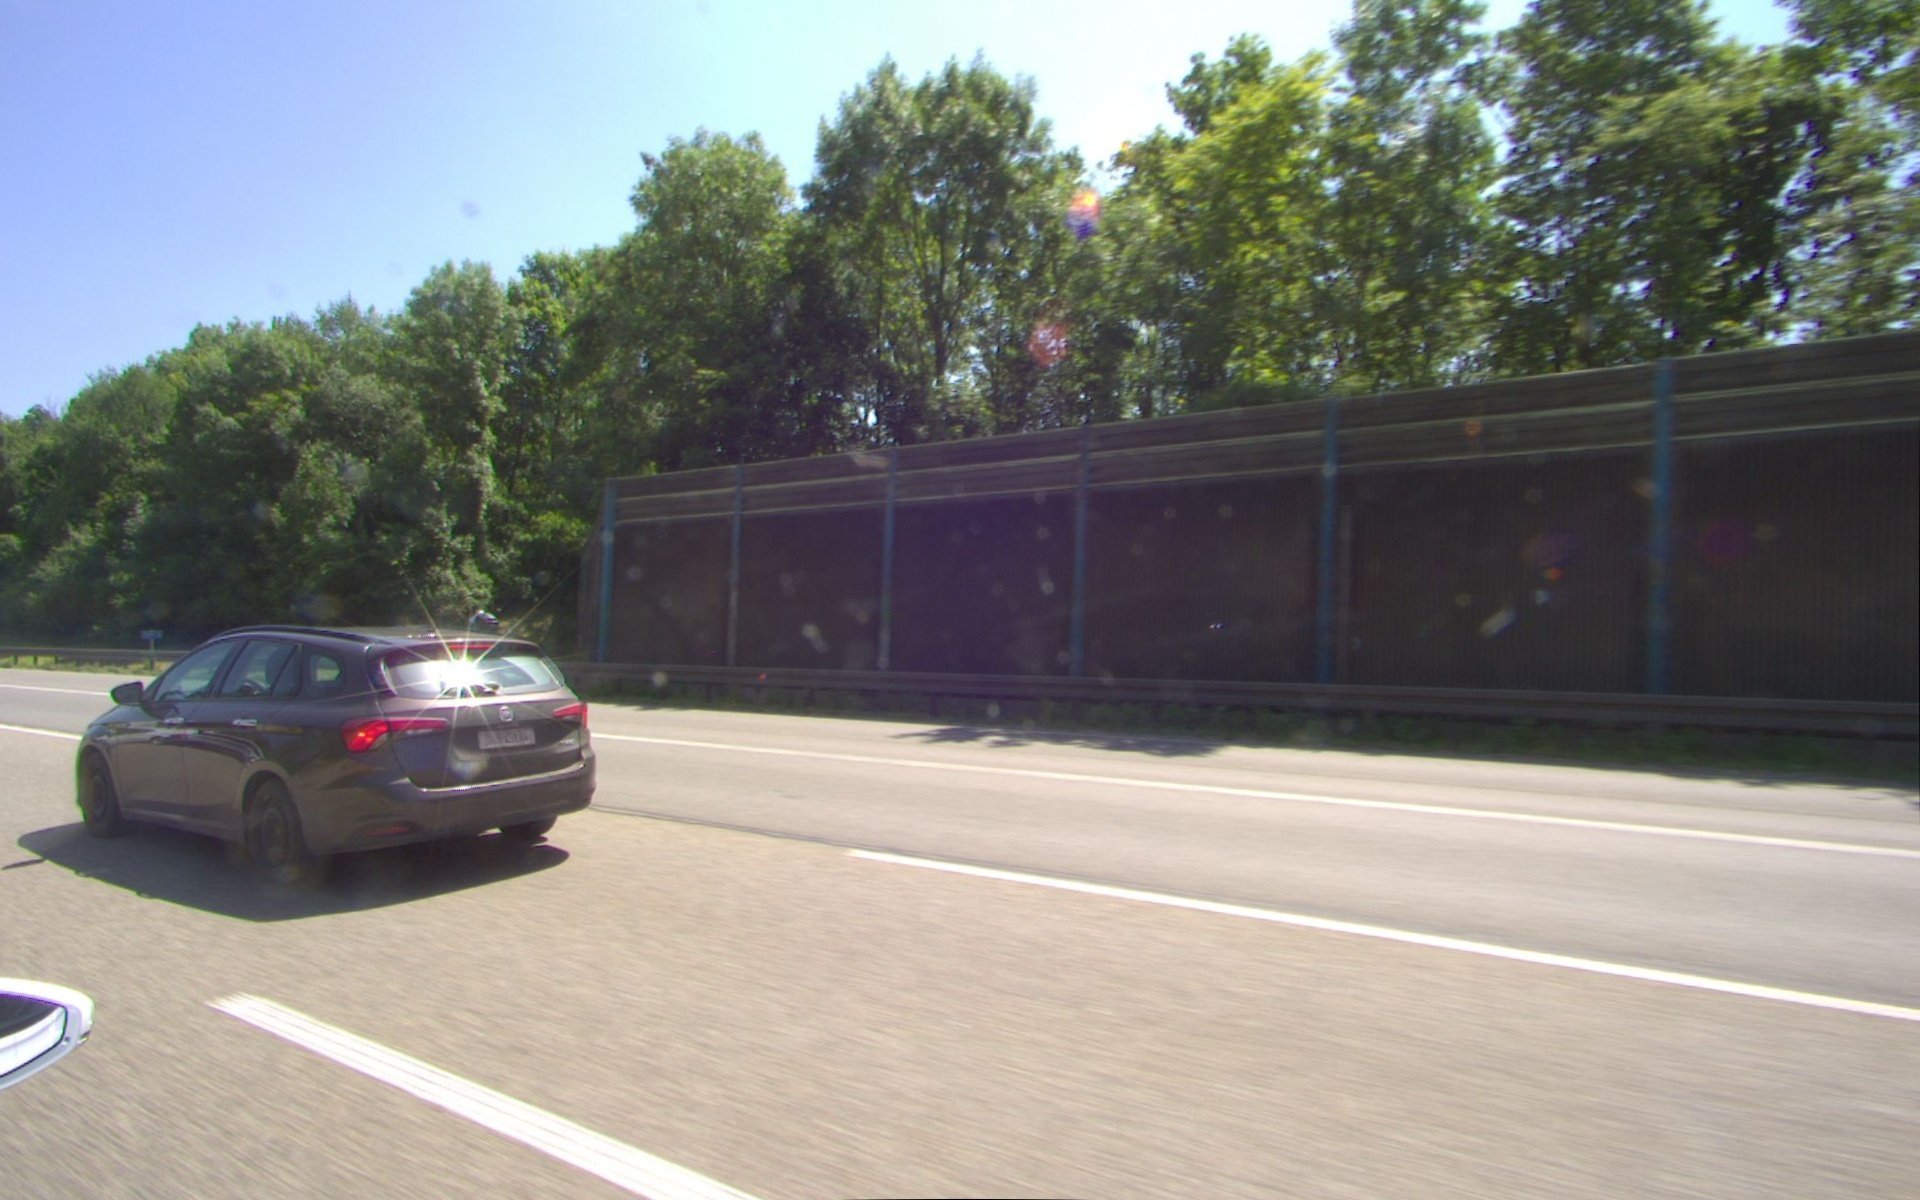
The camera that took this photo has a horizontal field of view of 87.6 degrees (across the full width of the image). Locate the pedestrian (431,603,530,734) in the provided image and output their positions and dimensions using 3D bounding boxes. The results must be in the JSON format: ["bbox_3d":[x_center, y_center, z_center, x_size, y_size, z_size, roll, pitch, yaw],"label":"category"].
[{"bbox_3d":[-5.691,0.792,11.905,0.630,1.498,0.849,0,-1,36],"label":"pedestrian"}]

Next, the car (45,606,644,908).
[{"bbox_3d":[-4.441,0.837,7.053,4.337,1.532,1.836,0,-2,32],"label":"car"}]

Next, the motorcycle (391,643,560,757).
[{"bbox_3d":[-5.834,1.145,12.012,2.246,1.197,0.857,0,-1,36],"label":"motorcycle"}]
